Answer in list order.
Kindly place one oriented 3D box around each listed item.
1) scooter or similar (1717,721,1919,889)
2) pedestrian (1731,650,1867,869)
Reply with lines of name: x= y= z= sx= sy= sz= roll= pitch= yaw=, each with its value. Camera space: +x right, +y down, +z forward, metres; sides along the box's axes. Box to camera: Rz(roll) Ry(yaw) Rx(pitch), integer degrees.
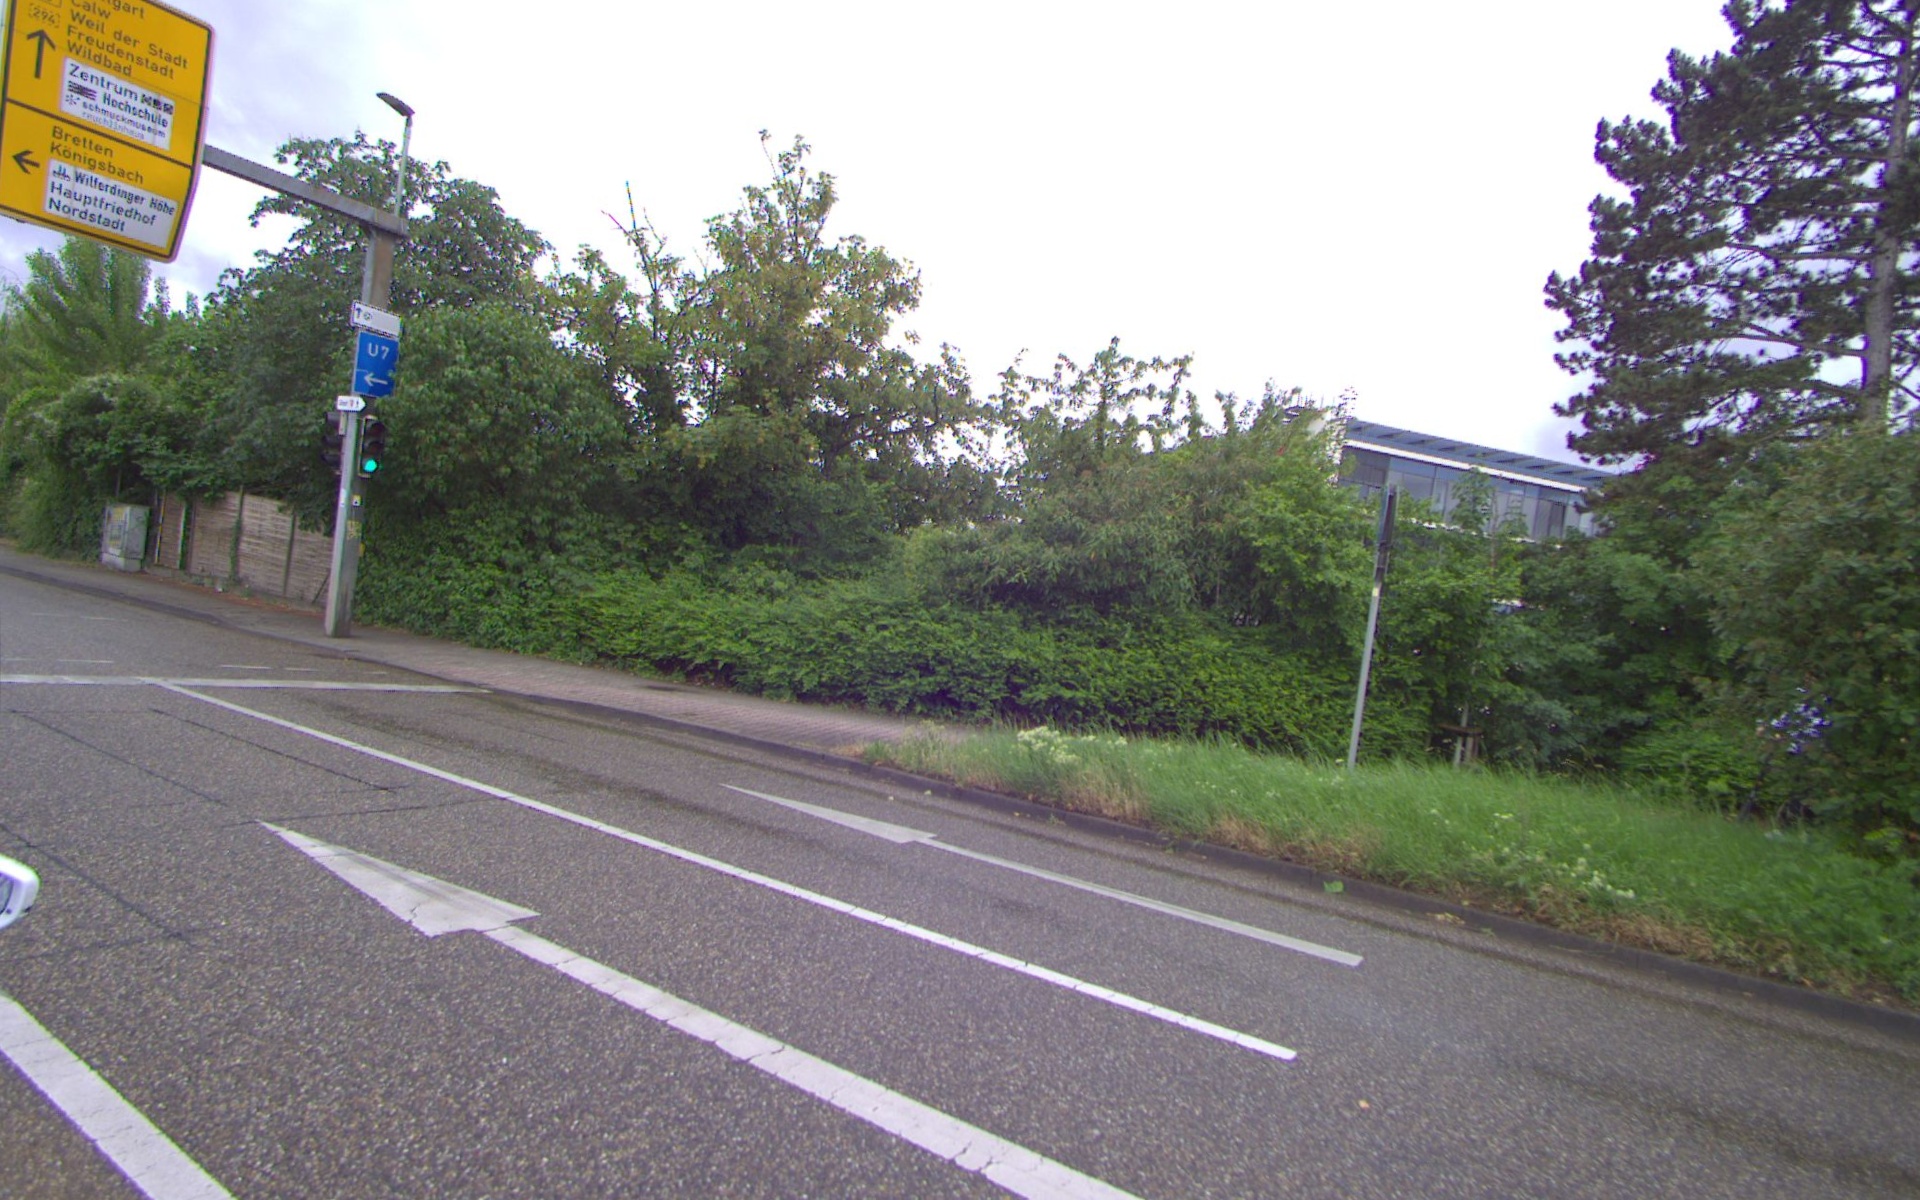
scooter or similar: x=8.540 y=2.010 z=10.046 sx=1.359 sy=1.378 sz=0.462 roll=7 pitch=1 yaw=24
pedestrian: x=8.382 y=1.559 z=10.090 sx=0.705 sy=2.027 sz=0.657 roll=7 pitch=1 yaw=24
